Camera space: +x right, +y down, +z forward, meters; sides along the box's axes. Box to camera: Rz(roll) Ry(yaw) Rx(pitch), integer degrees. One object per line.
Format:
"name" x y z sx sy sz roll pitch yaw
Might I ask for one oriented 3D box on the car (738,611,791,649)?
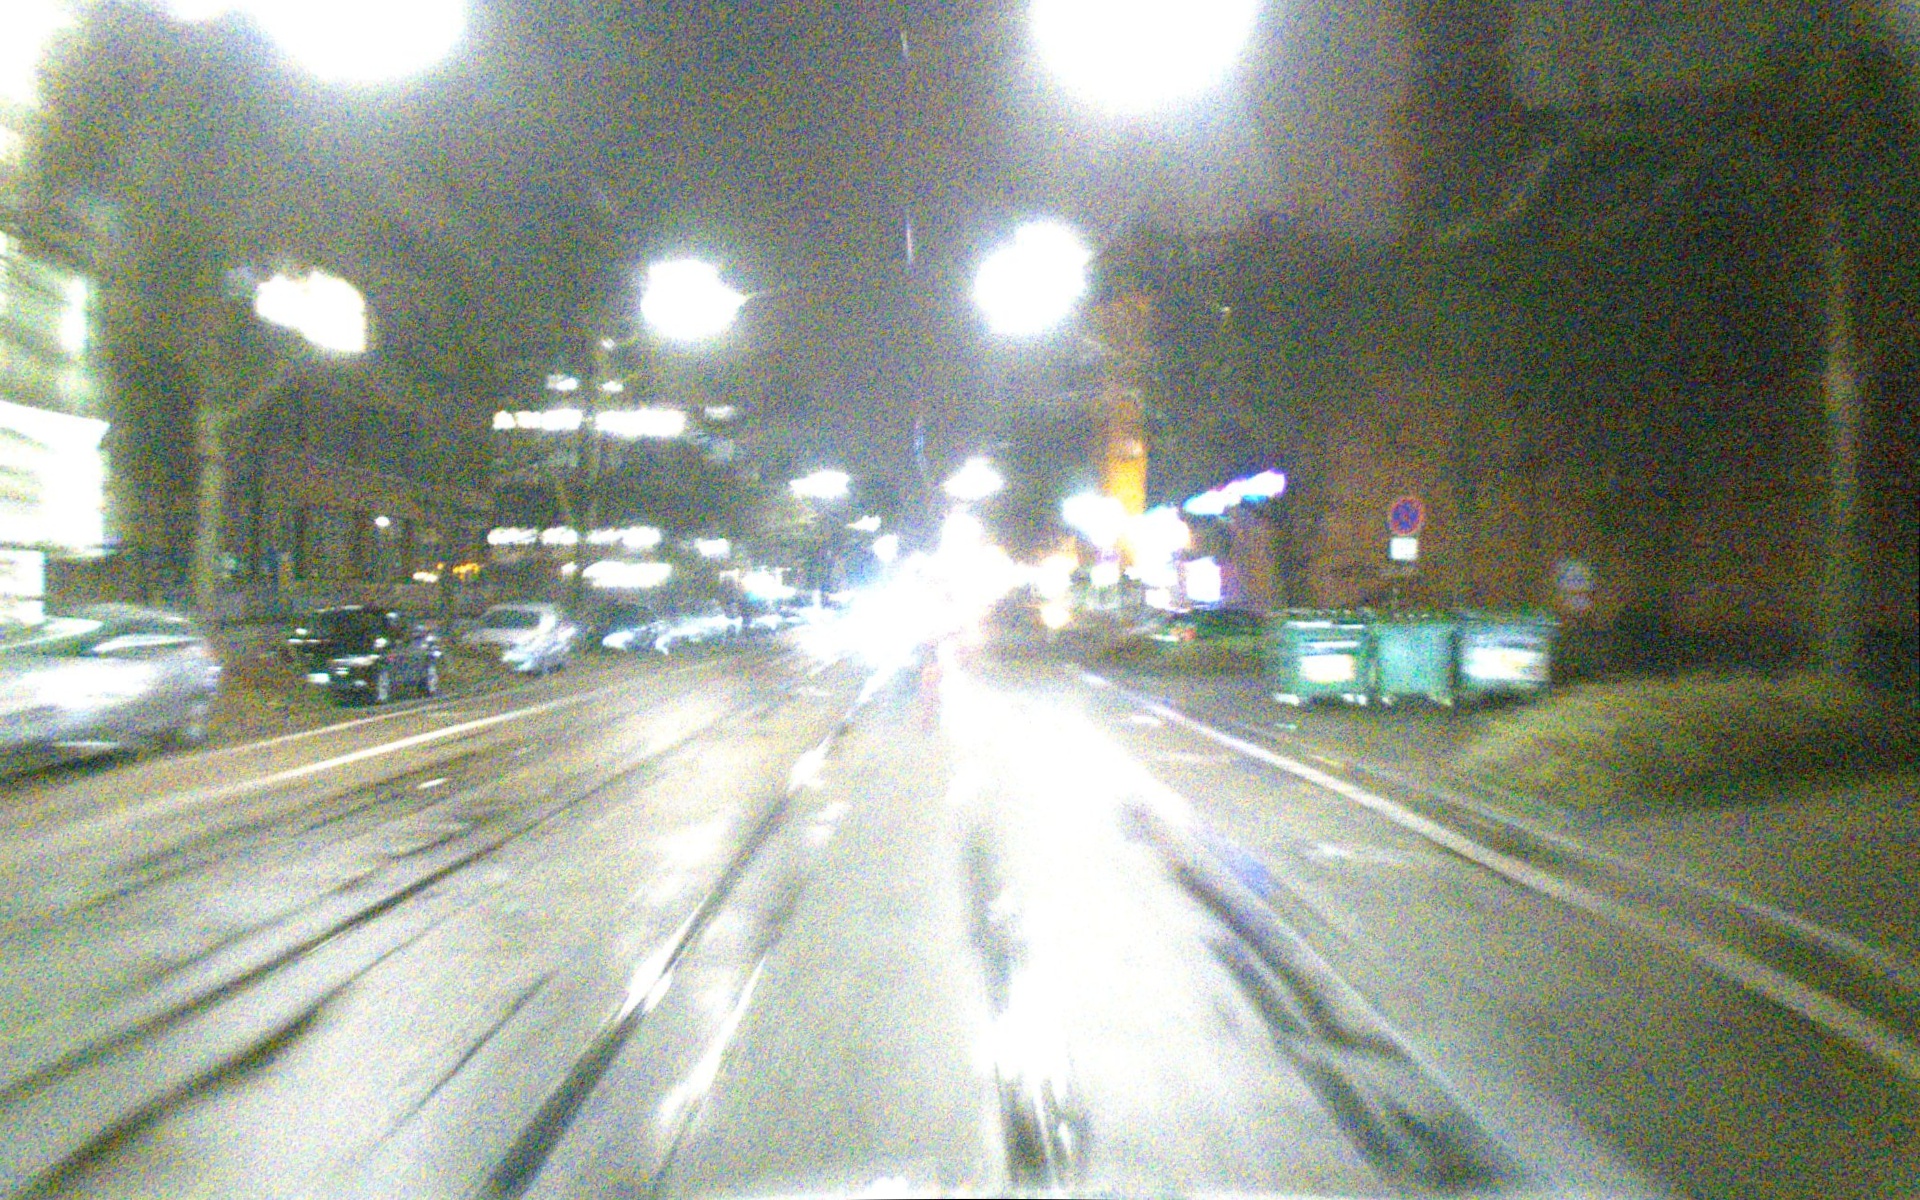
"car" -9.473 1.441 80.378 1.929 1.684 4.601 3 -1 0

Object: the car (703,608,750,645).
"car" -9.766 1.085 69.426 1.657 1.446 3.911 0 0 -4

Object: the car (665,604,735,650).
"car" -9.709 1.002 62.076 1.943 1.660 4.516 1 -1 -1

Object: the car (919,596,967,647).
"car" -0.876 1.055 81.145 2.199 2.402 4.391 1 -1 -2

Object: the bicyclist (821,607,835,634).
"bicyclist" -8.365 1.275 105.190 0.766 1.684 1.206 -2 -1 -1

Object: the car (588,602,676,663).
"car" -9.499 0.940 48.216 1.843 1.572 4.396 4 -1 -4

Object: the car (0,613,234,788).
"car" -8.785 0.862 16.063 1.738 1.465 4.603 0 -1 -4

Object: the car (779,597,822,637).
"car" -10.760 1.120 111.863 2.140 2.637 6.392 1 0 1

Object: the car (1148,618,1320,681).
"car" 7.065 1.264 42.613 4.043 1.564 1.944 1 -1 -27

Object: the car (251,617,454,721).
"car" -9.212 0.989 25.446 1.803 1.448 4.205 0 -1 -4

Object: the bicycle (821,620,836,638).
"bicycle" -8.350 1.830 105.168 0.766 1.101 1.918 -2 -1 -1

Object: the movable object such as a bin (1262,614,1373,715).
"movable object such as a bin" 5.270 0.939 24.464 1.296 1.433 1.158 -1 -1 -6

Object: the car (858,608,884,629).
"car" -6.751 1.387 125.950 1.740 1.544 4.050 1 0 -1

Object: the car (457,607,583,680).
"car" -9.529 0.912 36.200 1.851 1.488 4.954 0 -1 -5

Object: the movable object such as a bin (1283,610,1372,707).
"movable object such as a bin" 5.693 0.903 25.692 1.183 1.447 1.101 -1 -1 4
